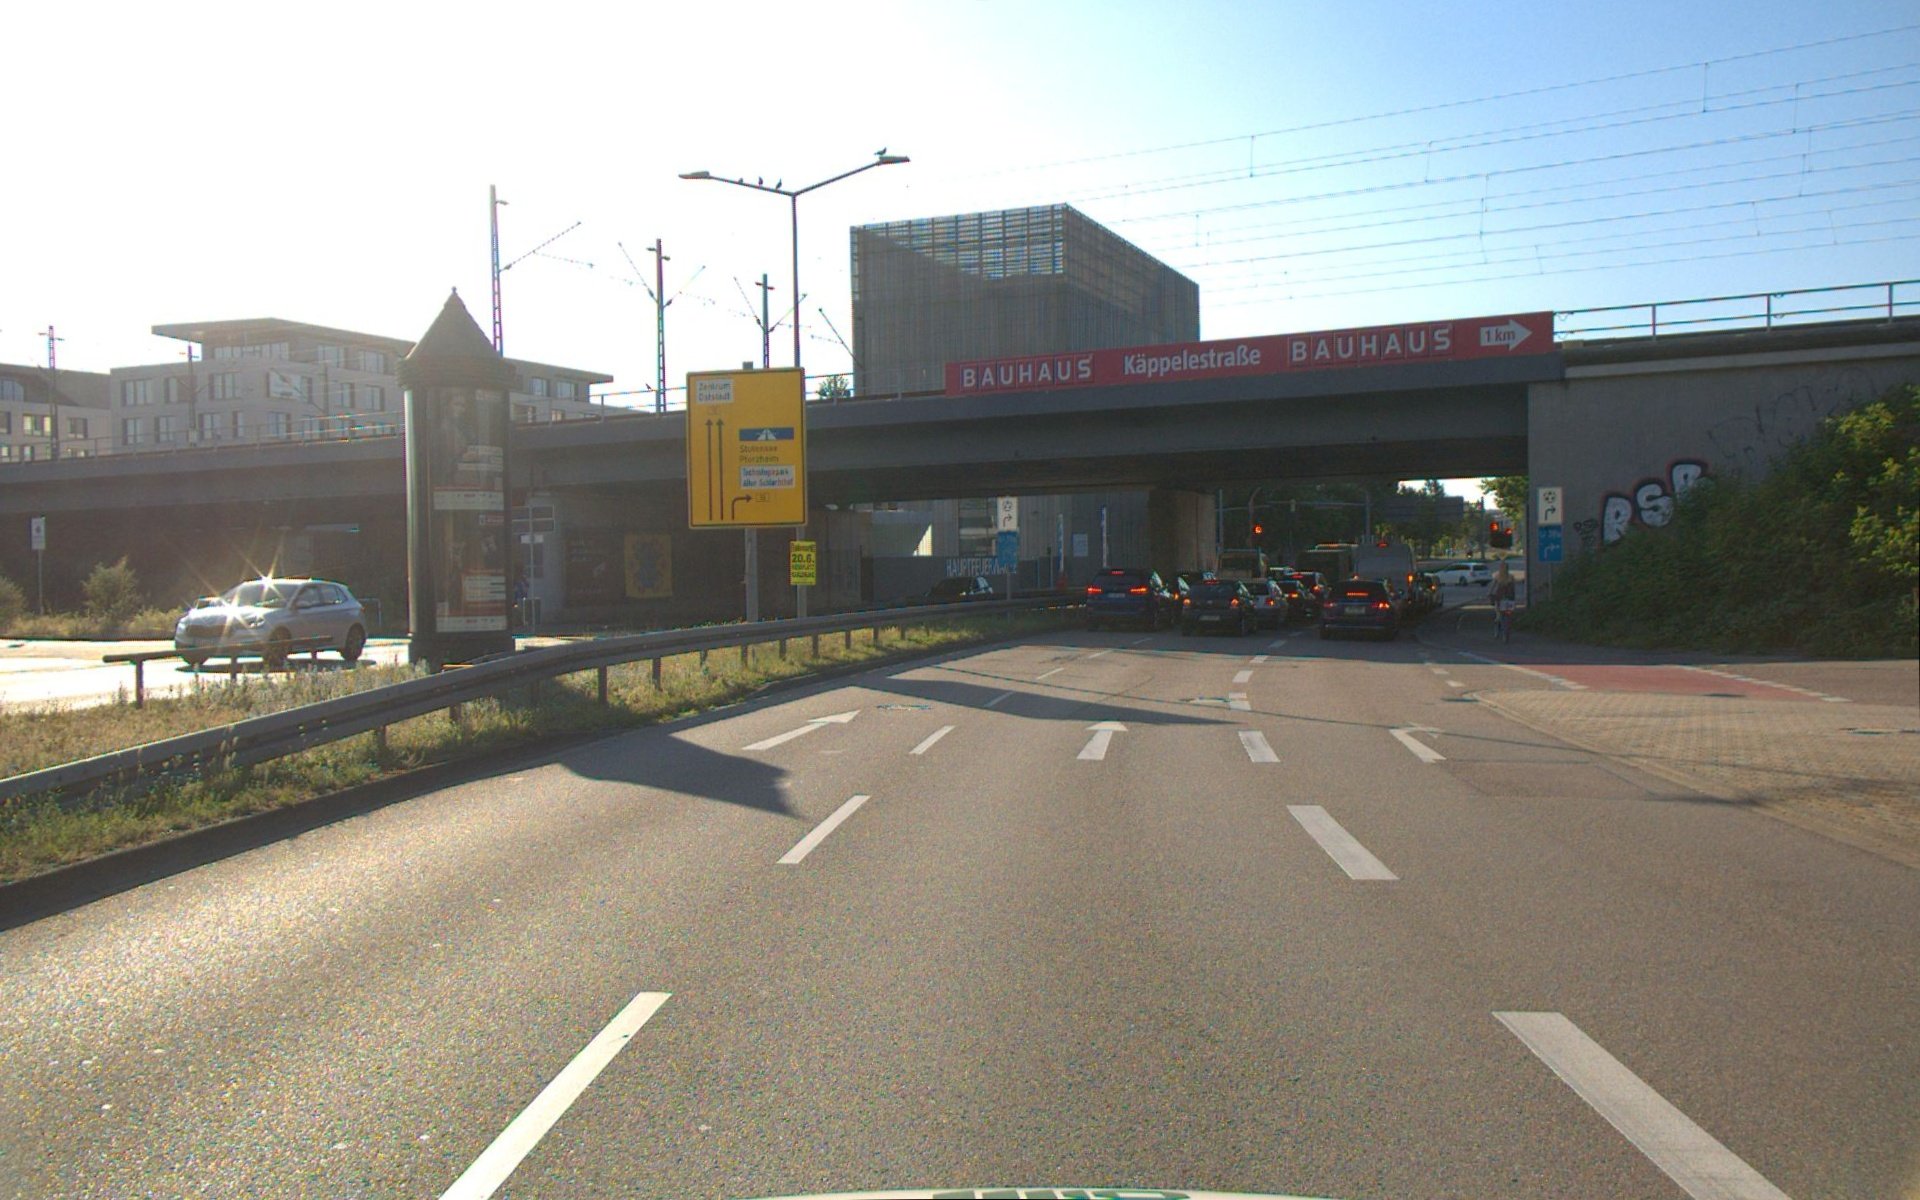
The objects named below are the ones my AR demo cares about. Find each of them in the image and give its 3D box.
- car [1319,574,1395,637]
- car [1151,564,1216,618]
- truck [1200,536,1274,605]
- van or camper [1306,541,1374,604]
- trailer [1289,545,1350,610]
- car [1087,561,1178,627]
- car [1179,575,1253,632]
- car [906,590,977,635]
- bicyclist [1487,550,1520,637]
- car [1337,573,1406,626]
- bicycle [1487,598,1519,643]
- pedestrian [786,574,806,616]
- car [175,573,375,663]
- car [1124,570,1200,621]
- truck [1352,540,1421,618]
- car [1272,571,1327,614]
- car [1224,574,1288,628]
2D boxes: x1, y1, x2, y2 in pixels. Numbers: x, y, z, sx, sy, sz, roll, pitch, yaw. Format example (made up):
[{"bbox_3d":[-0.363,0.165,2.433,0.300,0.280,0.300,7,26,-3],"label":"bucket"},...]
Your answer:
[{"bbox_3d":[10.345,0.100,42.905,1.704,1.480,4.609,0,2,16],"label":"car"},{"bbox_3d":[7.980,-0.308,58.750,1.802,1.749,4.003,-4,-1,14],"label":"car"},{"bbox_3d":[11.097,-1.135,65.998,1.986,2.601,5.539,0,0,19],"label":"truck"},{"bbox_3d":[16.645,-1.164,72.234,1.953,2.615,5.916,0,0,23],"label":"van or camper"},{"bbox_3d":[14.598,-0.894,67.032,1.825,2.508,3.832,-2,0,20],"label":"trailer"},{"bbox_3d":[4.916,-0.165,46.667,1.790,1.769,4.464,-1,0,16],"label":"car"},{"bbox_3d":[6.784,0.075,43.650,1.548,1.433,3.835,0,0,15],"label":"car"},{"bbox_3d":[-0.699,0.483,65.731,1.806,1.631,4.398,-4,-1,12],"label":"car"},{"bbox_3d":[12.243,-0.149,37.278,0.667,1.940,0.834,0,0,17],"label":"bicyclist"},{"bbox_3d":[12.594,-0.024,50.479,1.735,1.521,3.833,-2,0,18],"label":"car"},{"bbox_3d":[12.191,0.449,37.145,0.566,0.980,2.888,0,0,16],"label":"bicycle"},{"bbox_3d":[-7.540,-0.231,75.962,0.679,1.937,0.665,0,0,21],"label":"pedestrian"},{"bbox_3d":[-12.111,0.317,29.531,1.637,1.488,4.107,0,-1,4],"label":"car"},{"bbox_3d":[6.511,-0.157,52.983,1.802,1.465,3.678,-4,-1,16],"label":"car"},{"bbox_3d":[14.893,-0.710,57.606,2.067,2.563,4.403,-2,0,17],"label":"truck"},{"bbox_3d":[12.549,-0.266,61.048,1.548,1.559,3.833,0,0,19],"label":"car"},{"bbox_3d":[8.744,0.000,48.737,1.514,1.448,3.420,-4,0,15],"label":"car"}]
